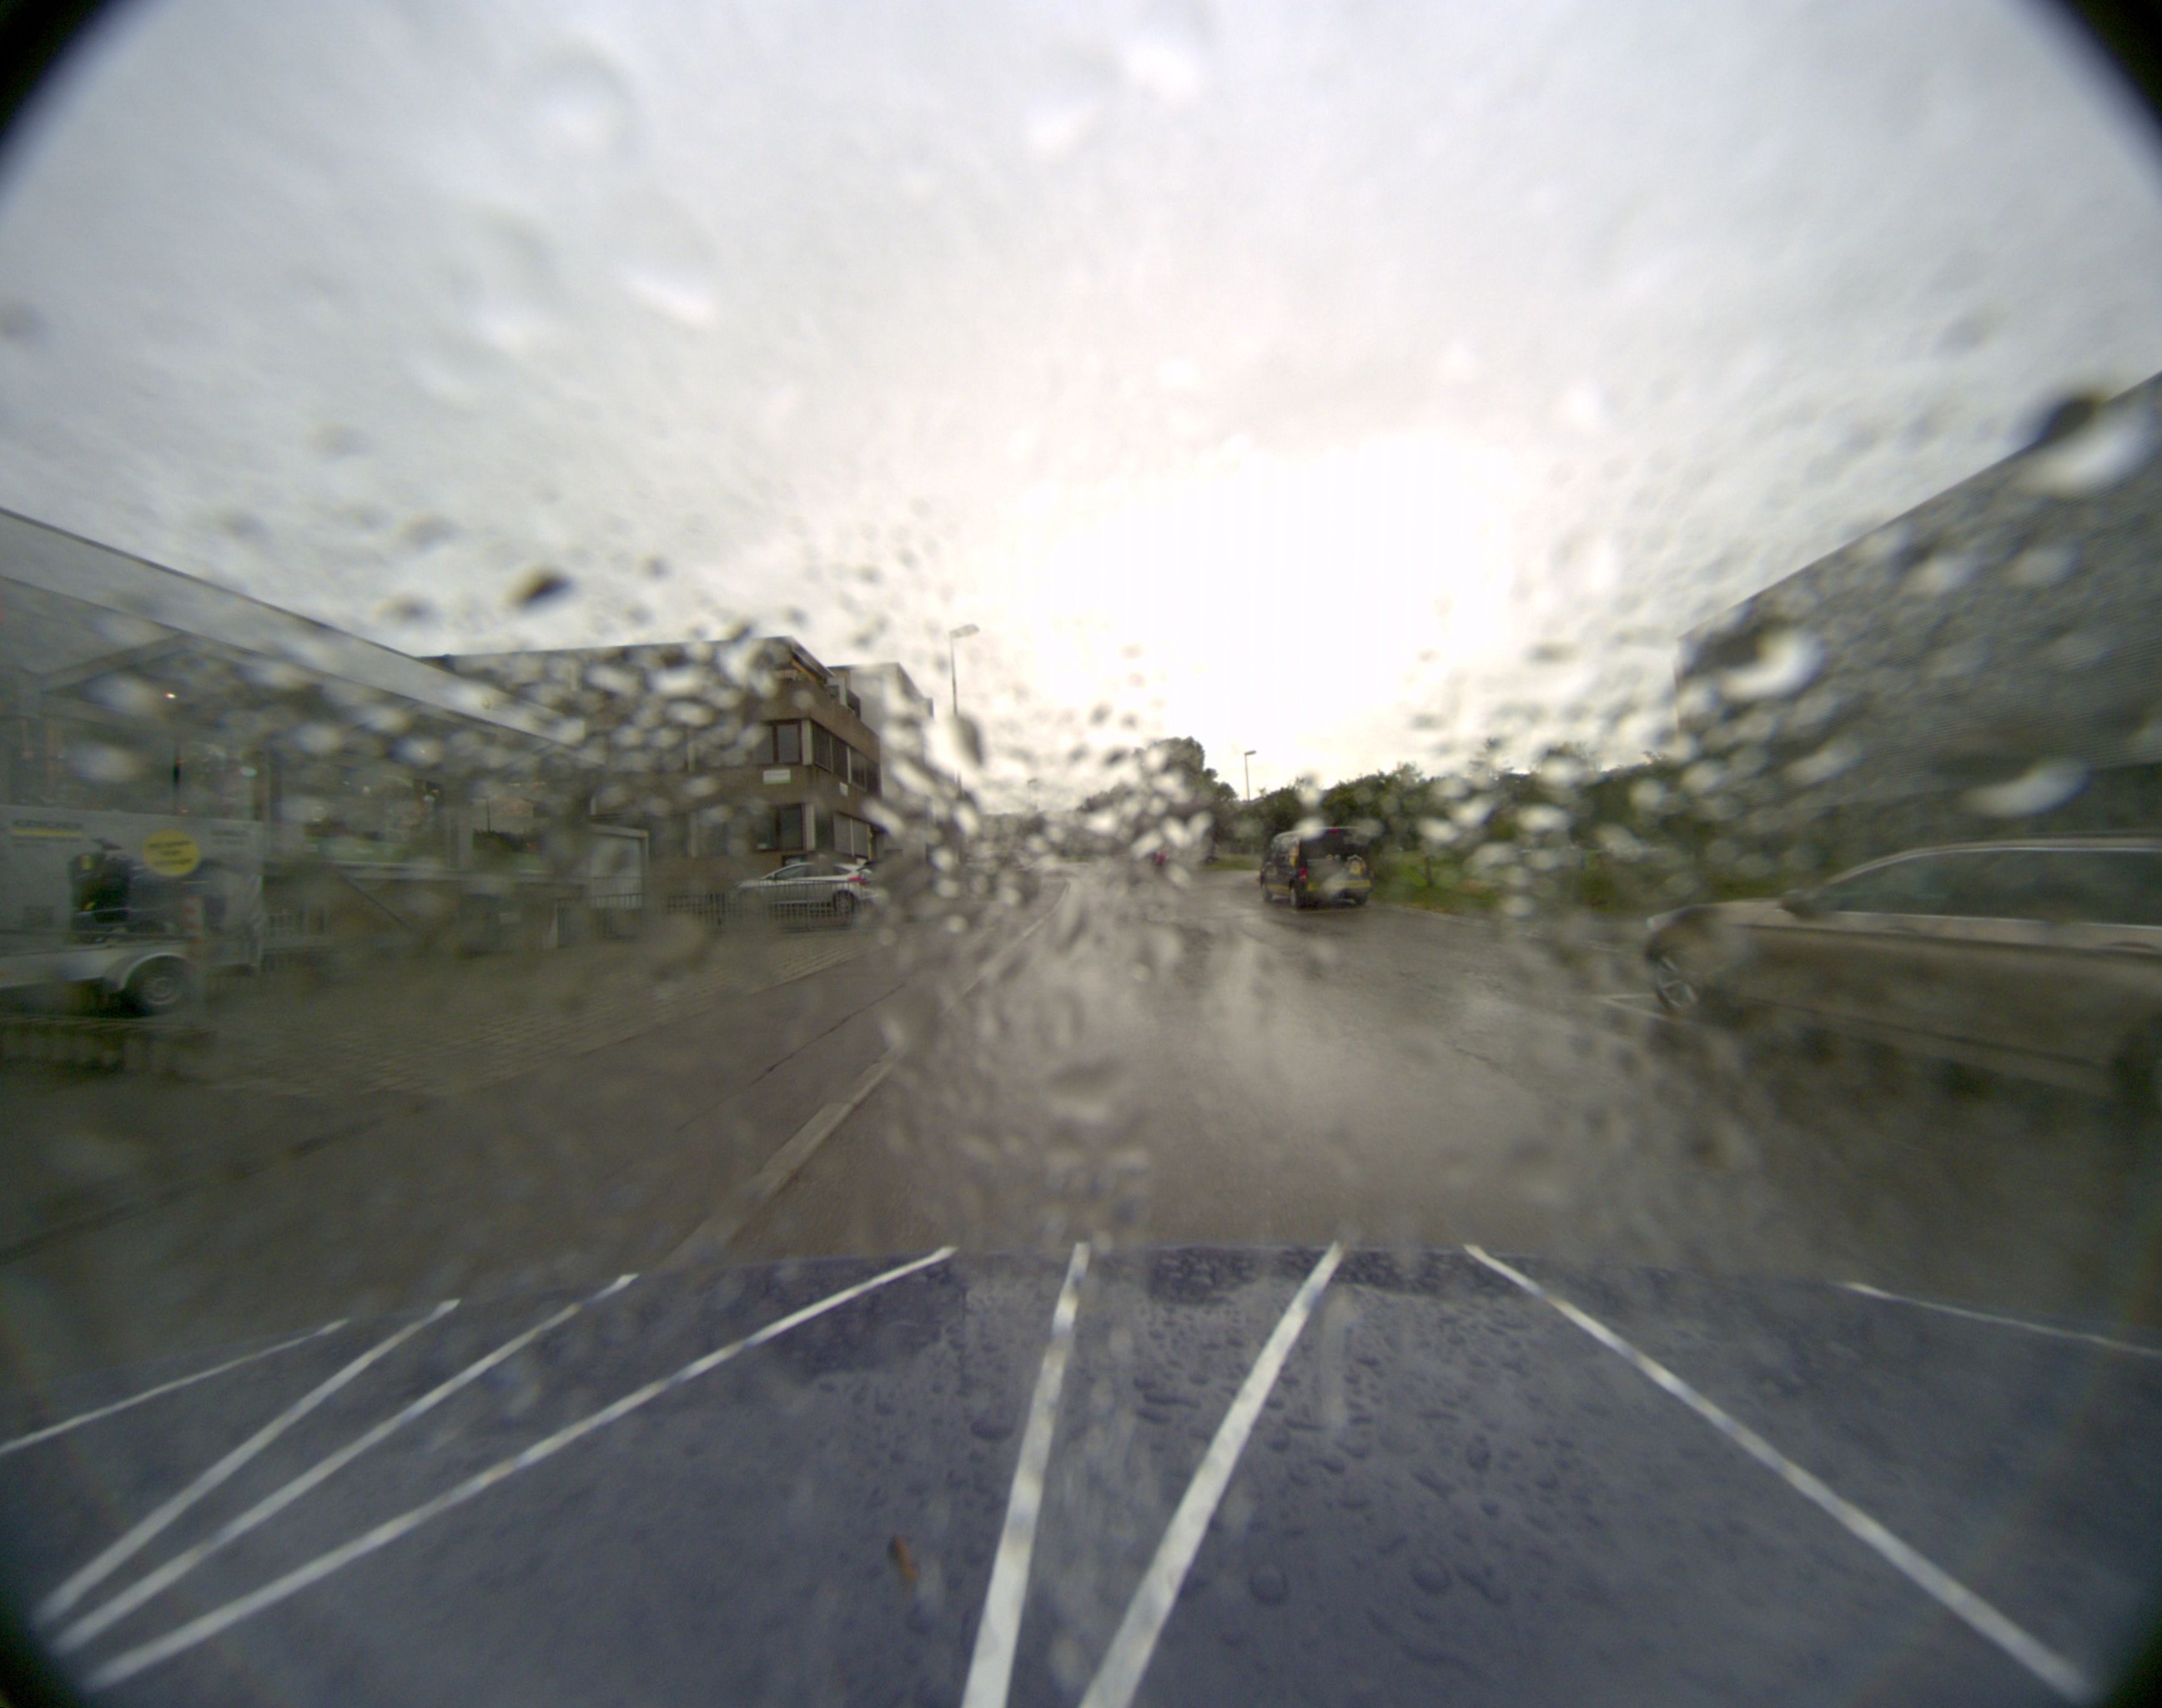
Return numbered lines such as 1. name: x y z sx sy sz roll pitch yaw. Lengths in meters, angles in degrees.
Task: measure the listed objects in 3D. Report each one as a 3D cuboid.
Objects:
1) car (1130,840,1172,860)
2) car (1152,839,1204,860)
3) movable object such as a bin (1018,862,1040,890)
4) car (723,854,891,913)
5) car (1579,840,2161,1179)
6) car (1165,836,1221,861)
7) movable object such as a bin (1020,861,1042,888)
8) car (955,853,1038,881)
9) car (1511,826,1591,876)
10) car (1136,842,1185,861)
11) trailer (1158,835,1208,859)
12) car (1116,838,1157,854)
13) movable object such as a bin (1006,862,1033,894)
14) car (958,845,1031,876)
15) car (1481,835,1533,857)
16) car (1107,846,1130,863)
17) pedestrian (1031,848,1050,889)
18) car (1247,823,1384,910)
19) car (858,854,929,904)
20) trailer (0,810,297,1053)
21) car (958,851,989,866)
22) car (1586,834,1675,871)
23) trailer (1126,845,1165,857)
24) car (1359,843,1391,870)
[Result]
1. car: 7.332 -0.408 80.058 4.085 1.712 2.025 -5 1 -2
2. car: 8.525 -0.411 66.953 4.208 1.712 1.754 -3 1 -6
3. movable object such as a bin: -2.060 0.856 30.236 0.745 1.060 0.636 -3 1 1
4. car: -7.875 0.830 22.169 4.131 1.565 2.003 0 1 -1
5. car: 5.768 0.679 4.618 1.961 1.453 5.246 -2 0 -1
6. car: 9.064 -0.455 61.752 4.310 1.895 1.862 -2 1 2
7. movable object such as a bin: -2.016 0.838 30.970 0.773 1.024 0.808 -3 1 1
8. car: -4.914 0.752 44.779 4.609 1.529 2.079 -1 1 -1
9. car: 20.748 -0.067 33.795 2.131 1.910 5.620 -3 -2 23
10. car: 8.067 -0.286 77.186 4.630 1.581 1.805 -5 1 -3
11. trailer: 9.369 -0.664 69.860 4.224 1.973 1.773 -2 1 -3
12. car: 6.446 -0.929 87.987 4.381 1.712 2.043 -3 1 -7
13. movable object such as a bin: -2.276 0.883 28.266 0.730 1.107 0.704 -3 1 15
14. car: -5.391 0.390 47.840 4.352 1.763 2.088 -2 1 -2
15. car: 45.136 -0.852 80.657 4.493 2.207 1.932 -1 1 19
16. car: 3.574 0.007 73.524 1.752 1.500 3.933 -3 1 -2
17. pedestrian: -1.810 0.651 34.156 0.738 1.757 0.808 -3 1 1
18. car: 5.728 0.243 19.253 1.920 1.821 4.847 -3 1 1
19. car: -7.548 0.935 30.994 1.753 1.740 4.472 -2 1 -1
20. trailer: -11.631 0.808 8.128 1.891 2.402 4.309 -2 0 1
21. car: -12.897 0.522 90.992 1.861 1.576 4.314 -3 4 -36
22. car: 22.846 -0.081 31.779 1.995 1.388 4.697 -2 0 23
23. trailer: 6.980 -0.317 82.696 3.953 0.955 1.999 -4 0 -5
24. car: 22.177 0.228 57.469 1.996 1.742 4.392 -2 -3 19
